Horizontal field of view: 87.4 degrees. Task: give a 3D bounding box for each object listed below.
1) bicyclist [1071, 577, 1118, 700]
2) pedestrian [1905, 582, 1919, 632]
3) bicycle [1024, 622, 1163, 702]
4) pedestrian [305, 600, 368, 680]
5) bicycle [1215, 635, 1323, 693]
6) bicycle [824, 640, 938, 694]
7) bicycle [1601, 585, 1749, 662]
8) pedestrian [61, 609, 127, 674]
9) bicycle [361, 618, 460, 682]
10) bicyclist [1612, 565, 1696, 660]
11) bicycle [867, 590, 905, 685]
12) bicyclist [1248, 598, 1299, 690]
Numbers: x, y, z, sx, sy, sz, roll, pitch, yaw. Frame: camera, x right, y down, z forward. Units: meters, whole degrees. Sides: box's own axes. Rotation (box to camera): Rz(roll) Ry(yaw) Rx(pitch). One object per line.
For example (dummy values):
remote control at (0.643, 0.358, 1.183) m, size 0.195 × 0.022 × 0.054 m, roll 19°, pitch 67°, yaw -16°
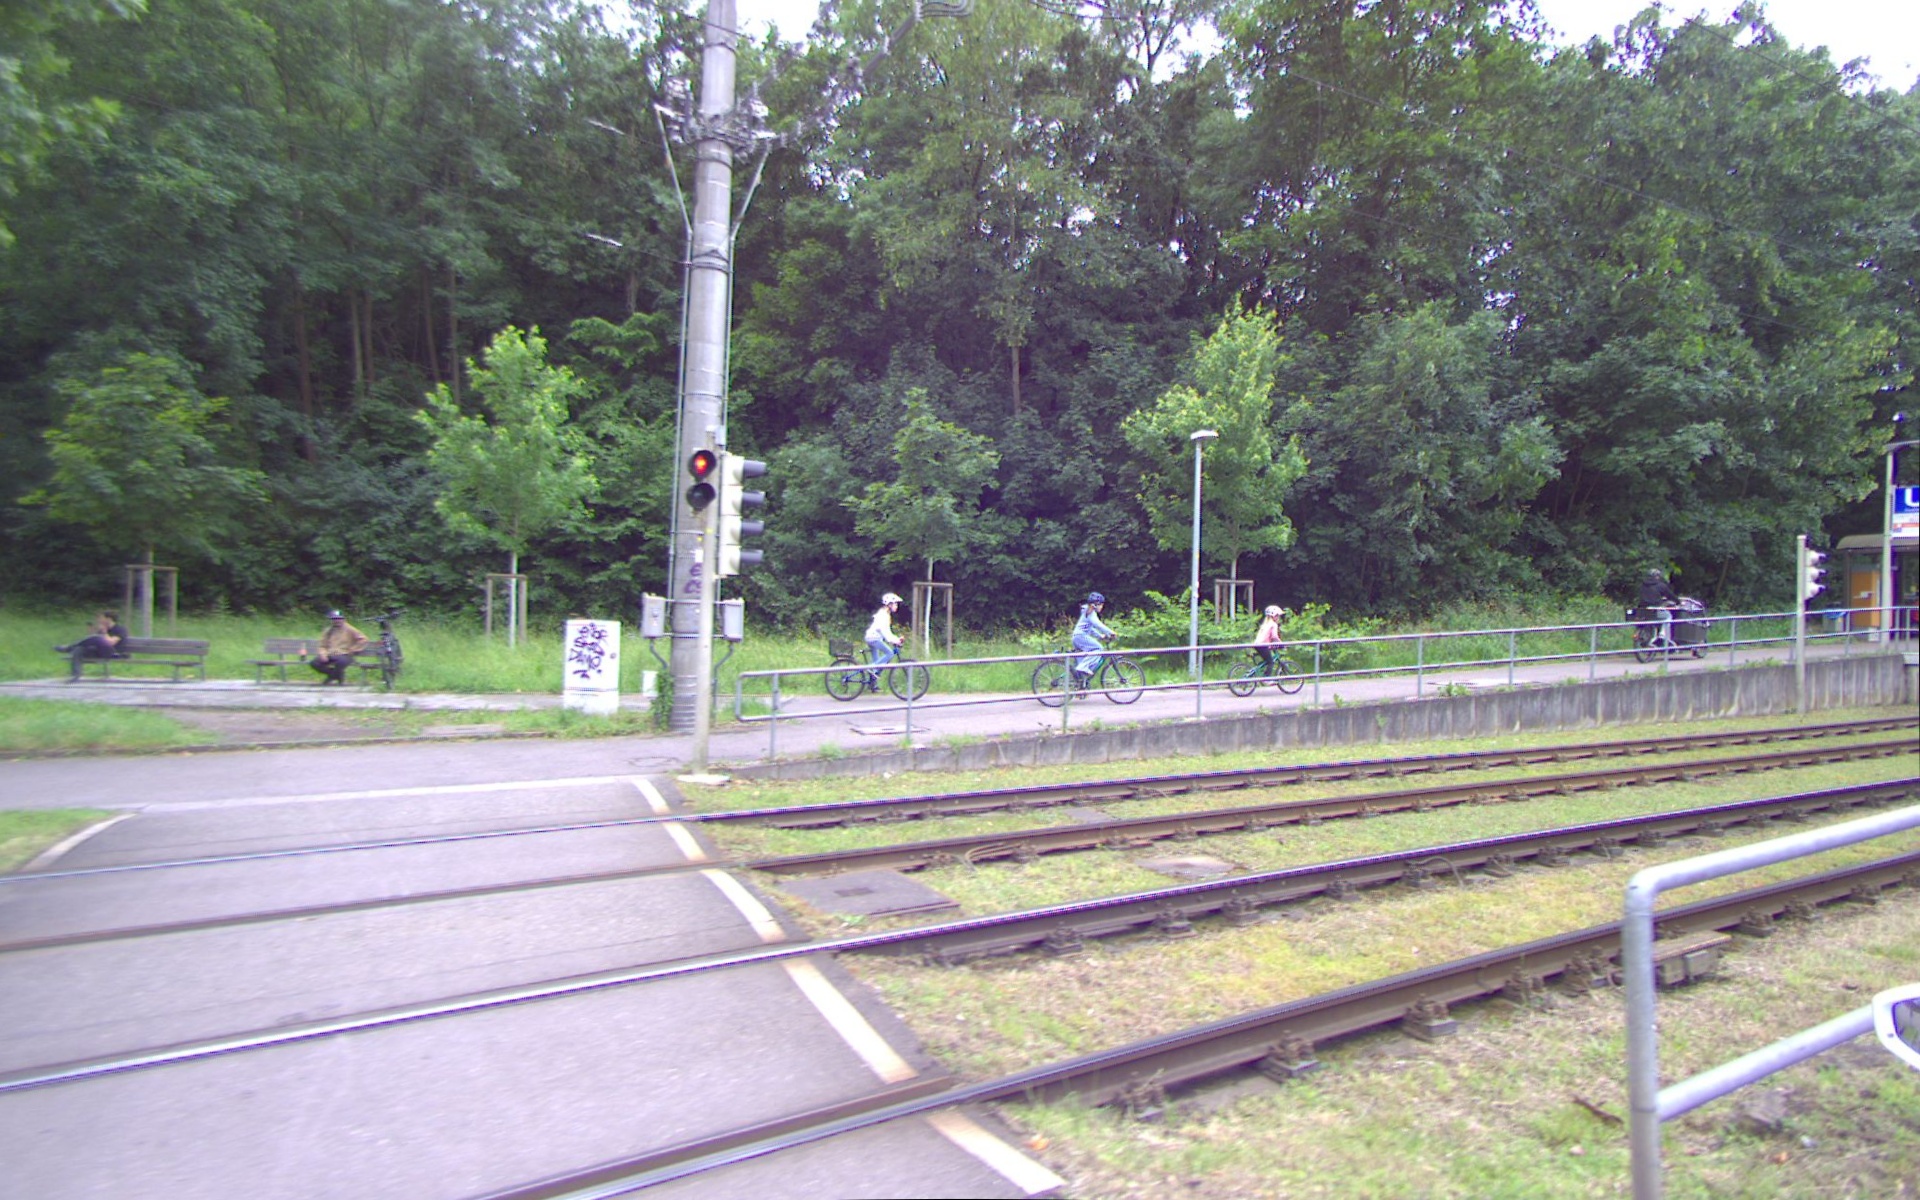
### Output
bicyclist at (1.890, 0.536, 14.198) m, size 0.611 × 1.697 × 0.475 m, roll 1°, pitch 3°, yaw 5°
pedestrian at (26.226, 0.196, 27.131) m, size 0.776 × 1.344 × 0.769 m, roll -1°, pitch 3°, yaw -26°
bicycle at (1.873, 0.864, 14.214) m, size 1.905 × 1.055 × 0.475 m, roll 1°, pitch 3°, yaw 5°
pedestrian at (-10.180, 0.643, 16.421) m, size 0.660 × 1.251 × 0.579 m, roll 2°, pitch 2°, yaw -5°
bicycle at (4.657, 0.947, 15.140) m, size 1.531 × 0.749 × 0.454 m, roll -2°, pitch 3°, yaw -11°
bicycle at (-1.138, 0.971, 14.638) m, size 1.620 × 0.749 × 0.455 m, roll 0°, pitch 3°, yaw 0°
bicycle at (13.964, 0.415, 19.598) m, size 3.299 × 1.307 × 0.731 m, roll -2°, pitch 4°, yaw -23°
pedestrian at (-14.218, 0.678, 16.494) m, size 0.608 × 1.003 × 0.532 m, roll 3°, pitch 2°, yaw -3°
bicycle at (-9.021, 0.802, 16.565) m, size 0.610 × 0.897 × 1.746 m, roll 3°, pitch 2°, yaw 2°
bicyclist at (13.353, 0.214, 19.335) m, size 1.274 × 1.735 × 0.731 m, roll -2°, pitch 4°, yaw -23°
bicycle at (-1.075, 0.534, 14.617) m, size 0.506 × 1.348 × 0.455 m, roll 0°, pitch 3°, yaw 0°
bicyclist at (4.719, 0.652, 15.135) m, size 0.571 × 1.319 × 0.454 m, roll -2°, pitch 3°, yaw -11°
